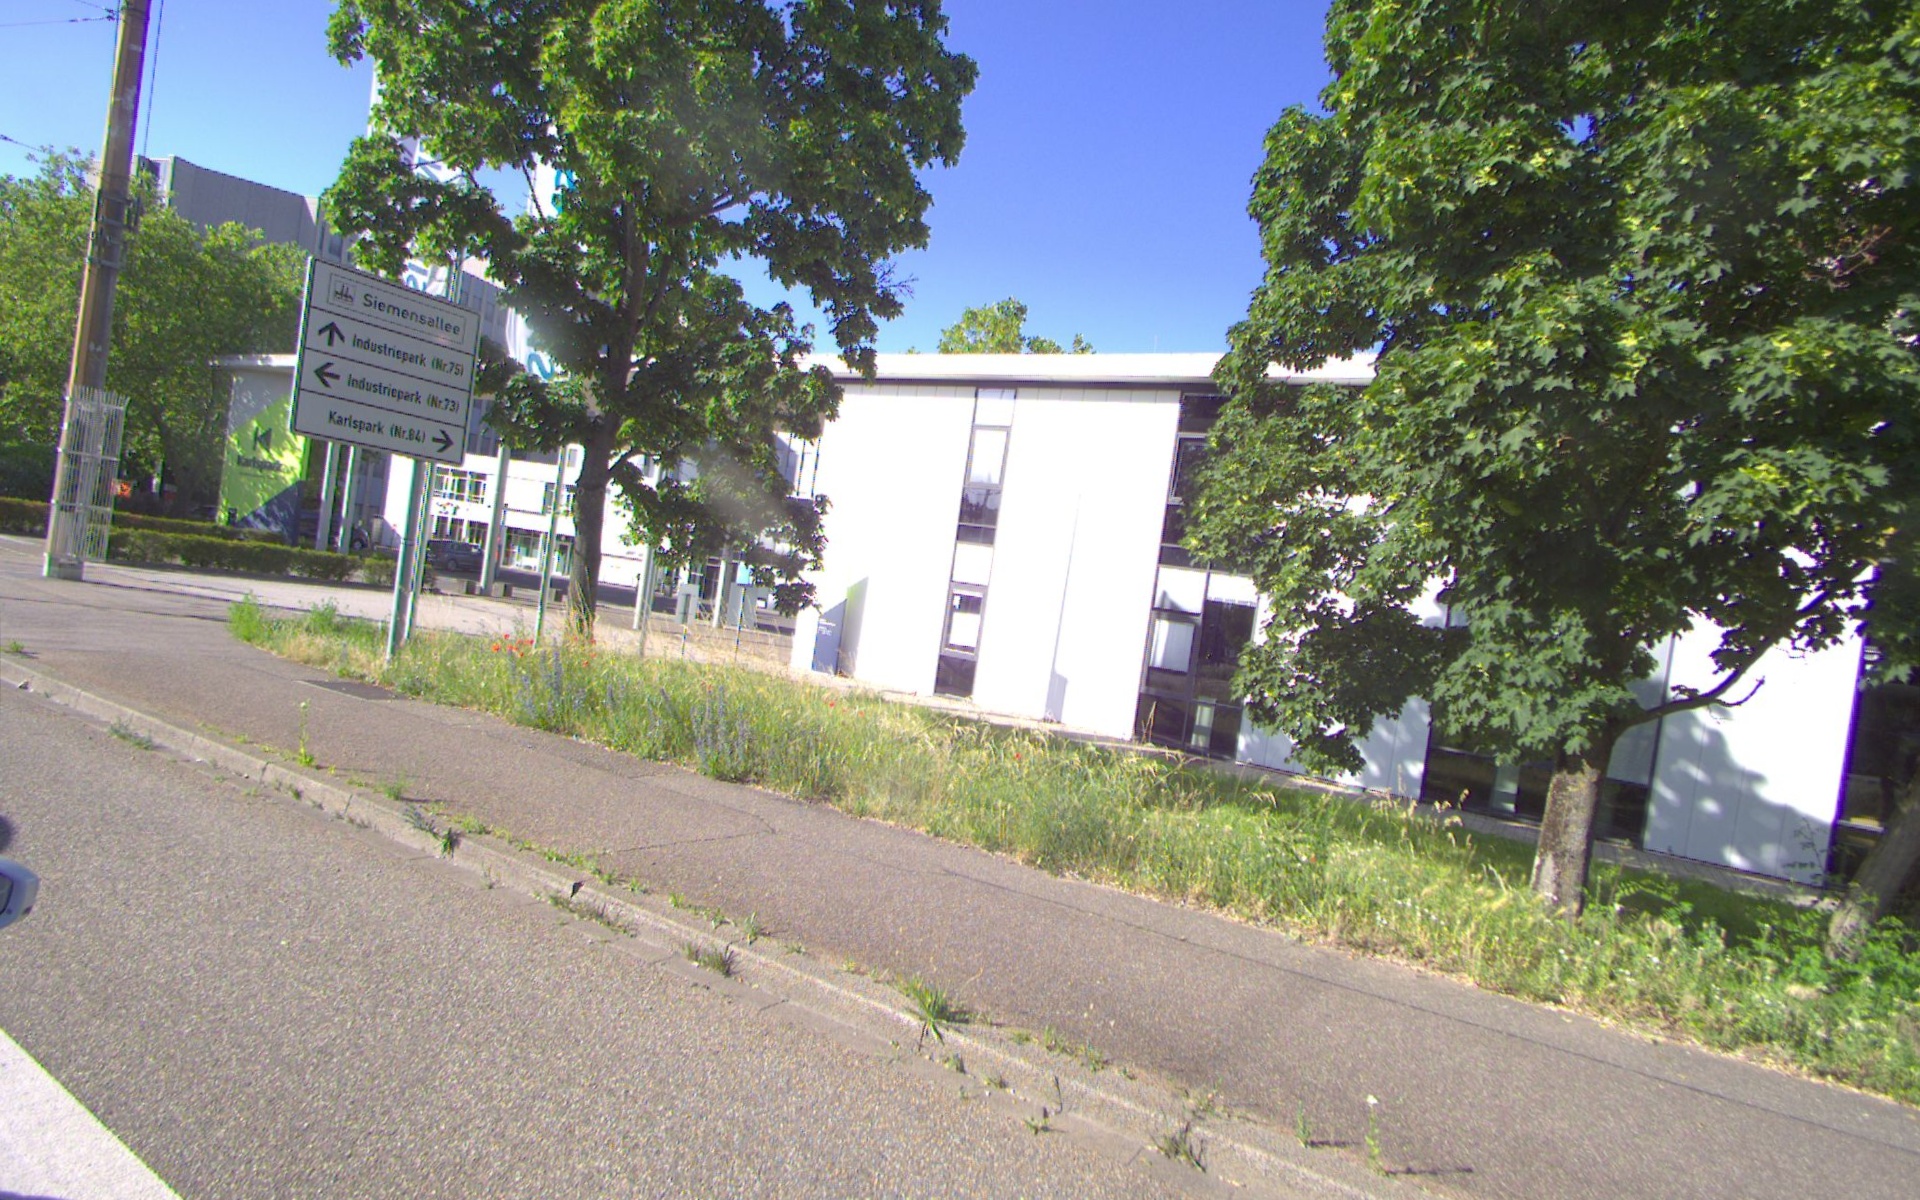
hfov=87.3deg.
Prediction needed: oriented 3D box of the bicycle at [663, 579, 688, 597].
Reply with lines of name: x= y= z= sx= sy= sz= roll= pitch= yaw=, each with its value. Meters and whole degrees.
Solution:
bicycle: x=-20.261 y=-0.864 z=71.662 sx=1.591 sy=1.016 sz=0.566 roll=8 pitch=0 yaw=17

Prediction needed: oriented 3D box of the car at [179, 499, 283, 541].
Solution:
car: x=-42.657 y=-4.642 z=58.960 sx=1.861 sy=1.706 sz=4.468 roll=8 pitch=-1 yaw=26

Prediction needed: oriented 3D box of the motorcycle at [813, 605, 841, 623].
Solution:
motorcycle: x=-8.977 y=0.918 z=67.851 sx=1.701 sy=0.959 sz=0.653 roll=8 pitch=0 yaw=17

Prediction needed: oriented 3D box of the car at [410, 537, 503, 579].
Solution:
car: x=-26.679 y=-2.211 z=53.444 sx=1.918 sy=1.597 sz=4.000 roll=8 pitch=-1 yaw=23

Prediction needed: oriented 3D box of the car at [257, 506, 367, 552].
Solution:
car: x=-36.281 y=-3.956 z=56.501 sx=2.052 sy=1.778 sz=4.900 roll=8 pitch=-1 yaw=17
